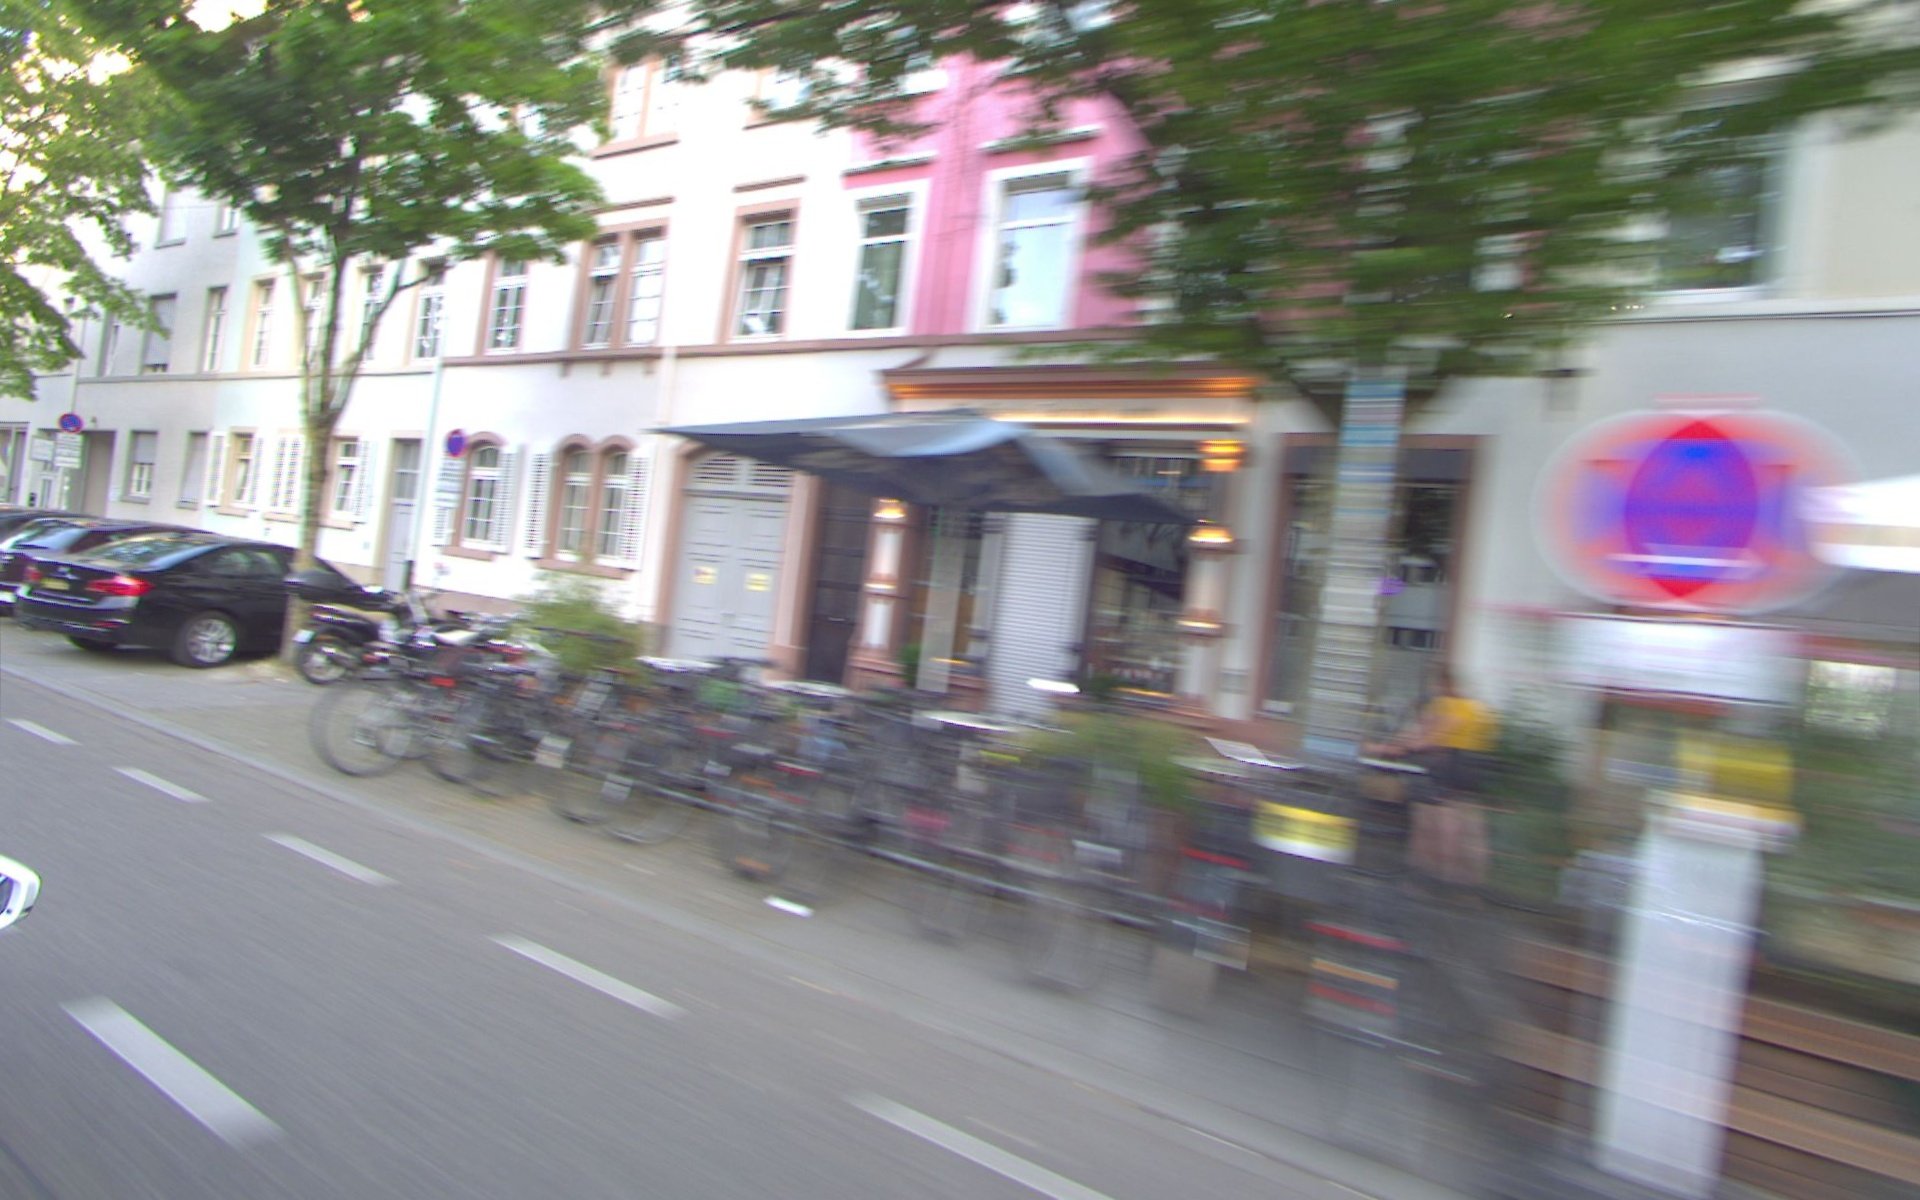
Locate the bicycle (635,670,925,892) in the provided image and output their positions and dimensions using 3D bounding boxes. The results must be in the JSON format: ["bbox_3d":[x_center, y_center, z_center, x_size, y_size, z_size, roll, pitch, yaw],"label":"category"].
[{"bbox_3d":[-1.014,1.007,6.189,0.598,1.045,1.888,7,1,30],"label":"bicycle"}]

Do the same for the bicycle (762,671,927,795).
[{"bbox_3d":[-0.930,1.083,8.596,0.320,0.884,1.817,7,1,30],"label":"bicycle"}]

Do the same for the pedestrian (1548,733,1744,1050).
[{"bbox_3d":[3.267,1.346,4.842,0.589,1.308,0.503,7,0,28],"label":"pedestrian"}]

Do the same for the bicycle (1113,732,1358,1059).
[{"bbox_3d":[1.393,1.263,4.815,0.598,1.045,1.817,7,1,30],"label":"bicycle"}]

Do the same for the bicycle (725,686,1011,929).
[{"bbox_3d":[-0.446,1.095,5.871,0.598,1.045,1.888,7,1,30],"label":"bicycle"}]

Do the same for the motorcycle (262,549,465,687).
[{"bbox_3d":[-6.468,0.231,11.011,0.524,1.360,1.788,7,0,30],"label":"motorcycle"}]

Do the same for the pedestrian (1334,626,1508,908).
[{"bbox_3d":[3.276,1.140,7.145,0.879,1.783,0.552,7,-1,31],"label":"pedestrian"}]

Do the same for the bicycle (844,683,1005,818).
[{"bbox_3d":[-0.233,1.162,8.140,0.320,0.884,1.817,7,1,30],"label":"bicycle"}]

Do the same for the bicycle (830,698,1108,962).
[{"bbox_3d":[0.138,1.146,5.555,0.598,1.045,1.888,7,1,30],"label":"bicycle"}]

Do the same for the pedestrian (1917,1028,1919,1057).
[{"bbox_3d":[4.787,1.550,4.516,0.495,1.307,0.599,7,-1,33],"label":"pedestrian"}]

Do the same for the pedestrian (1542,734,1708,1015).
[{"bbox_3d":[3.551,1.426,5.414,0.590,1.308,0.503,7,0,32],"label":"pedestrian"}]

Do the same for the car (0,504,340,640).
[{"bbox_3d":[-11.053,-0.353,13.808,1.963,1.489,3.961,7,1,15],"label":"car"}]

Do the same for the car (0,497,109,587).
[{"bbox_3d":[-17.574,-1.107,17.329,1.977,1.489,4.129,7,1,7],"label":"car"}]

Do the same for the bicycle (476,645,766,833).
[{"bbox_3d":[-2.233,0.867,6.903,0.598,1.045,1.888,7,1,30],"label":"bicycle"}]

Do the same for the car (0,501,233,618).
[{"bbox_3d":[-13.219,-0.602,14.672,1.789,1.489,4.129,7,1,8],"label":"car"}]

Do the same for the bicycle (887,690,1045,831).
[{"bbox_3d":[0.103,1.208,7.930,0.320,0.884,1.817,7,1,30],"label":"bicycle"}]

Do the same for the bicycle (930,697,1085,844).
[{"bbox_3d":[0.418,1.248,7.727,0.320,0.884,1.817,7,1,30],"label":"bicycle"}]

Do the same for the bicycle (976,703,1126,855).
[{"bbox_3d":[0.735,1.277,7.550,0.320,0.884,1.817,7,1,30],"label":"bicycle"}]

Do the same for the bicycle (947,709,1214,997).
[{"bbox_3d":[0.715,1.181,5.236,0.598,1.045,1.888,7,1,30],"label":"bicycle"}]

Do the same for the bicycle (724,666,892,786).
[{"bbox_3d":[-1.268,1.050,8.782,0.320,0.884,1.817,7,1,30],"label":"bicycle"}]

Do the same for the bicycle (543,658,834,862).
[{"bbox_3d":[-1.677,0.948,6.559,0.598,1.045,1.888,7,1,30],"label":"bicycle"}]

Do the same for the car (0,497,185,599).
[{"bbox_3d":[-15.309,-0.877,16.282,1.949,1.489,4.129,7,1,7],"label":"car"}]

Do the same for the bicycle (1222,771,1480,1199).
[{"bbox_3d":[1.523,1.292,3.731,0.547,1.045,1.680,7,2,30],"label":"bicycle"}]

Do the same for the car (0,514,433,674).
[{"bbox_3d":[-8.771,-0.054,12.257,1.788,1.445,4.174,7,1,13],"label":"car"}]

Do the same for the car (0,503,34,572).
[{"bbox_3d":[-21.318,-1.488,19.740,1.977,1.409,4.267,7,-1,8],"label":"car"}]

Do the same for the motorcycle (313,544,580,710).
[{"bbox_3d":[-5.278,0.308,10.525,0.951,1.479,2.225,7,0,30],"label":"motorcycle"}]

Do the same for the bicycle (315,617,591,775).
[{"bbox_3d":[-3.895,0.706,7.912,0.524,1.045,1.905,7,1,29],"label":"bicycle"}]

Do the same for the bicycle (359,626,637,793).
[{"bbox_3d":[-3.401,0.763,7.602,0.581,1.045,1.865,7,1,29],"label":"bicycle"}]

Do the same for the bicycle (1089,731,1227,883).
[{"bbox_3d":[1.456,1.402,7.140,0.320,0.882,1.820,6,-2,30],"label":"bicycle"}]

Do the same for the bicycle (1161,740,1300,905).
[{"bbox_3d":[1.888,1.440,6.838,0.381,0.882,1.820,6,-2,30],"label":"bicycle"}]

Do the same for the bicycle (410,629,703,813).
[{"bbox_3d":[-2.820,0.802,7.263,0.663,1.081,1.888,7,1,30],"label":"bicycle"}]

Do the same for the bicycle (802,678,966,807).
[{"bbox_3d":[-0.576,1.132,8.372,0.320,0.884,1.817,7,1,30],"label":"bicycle"}]
